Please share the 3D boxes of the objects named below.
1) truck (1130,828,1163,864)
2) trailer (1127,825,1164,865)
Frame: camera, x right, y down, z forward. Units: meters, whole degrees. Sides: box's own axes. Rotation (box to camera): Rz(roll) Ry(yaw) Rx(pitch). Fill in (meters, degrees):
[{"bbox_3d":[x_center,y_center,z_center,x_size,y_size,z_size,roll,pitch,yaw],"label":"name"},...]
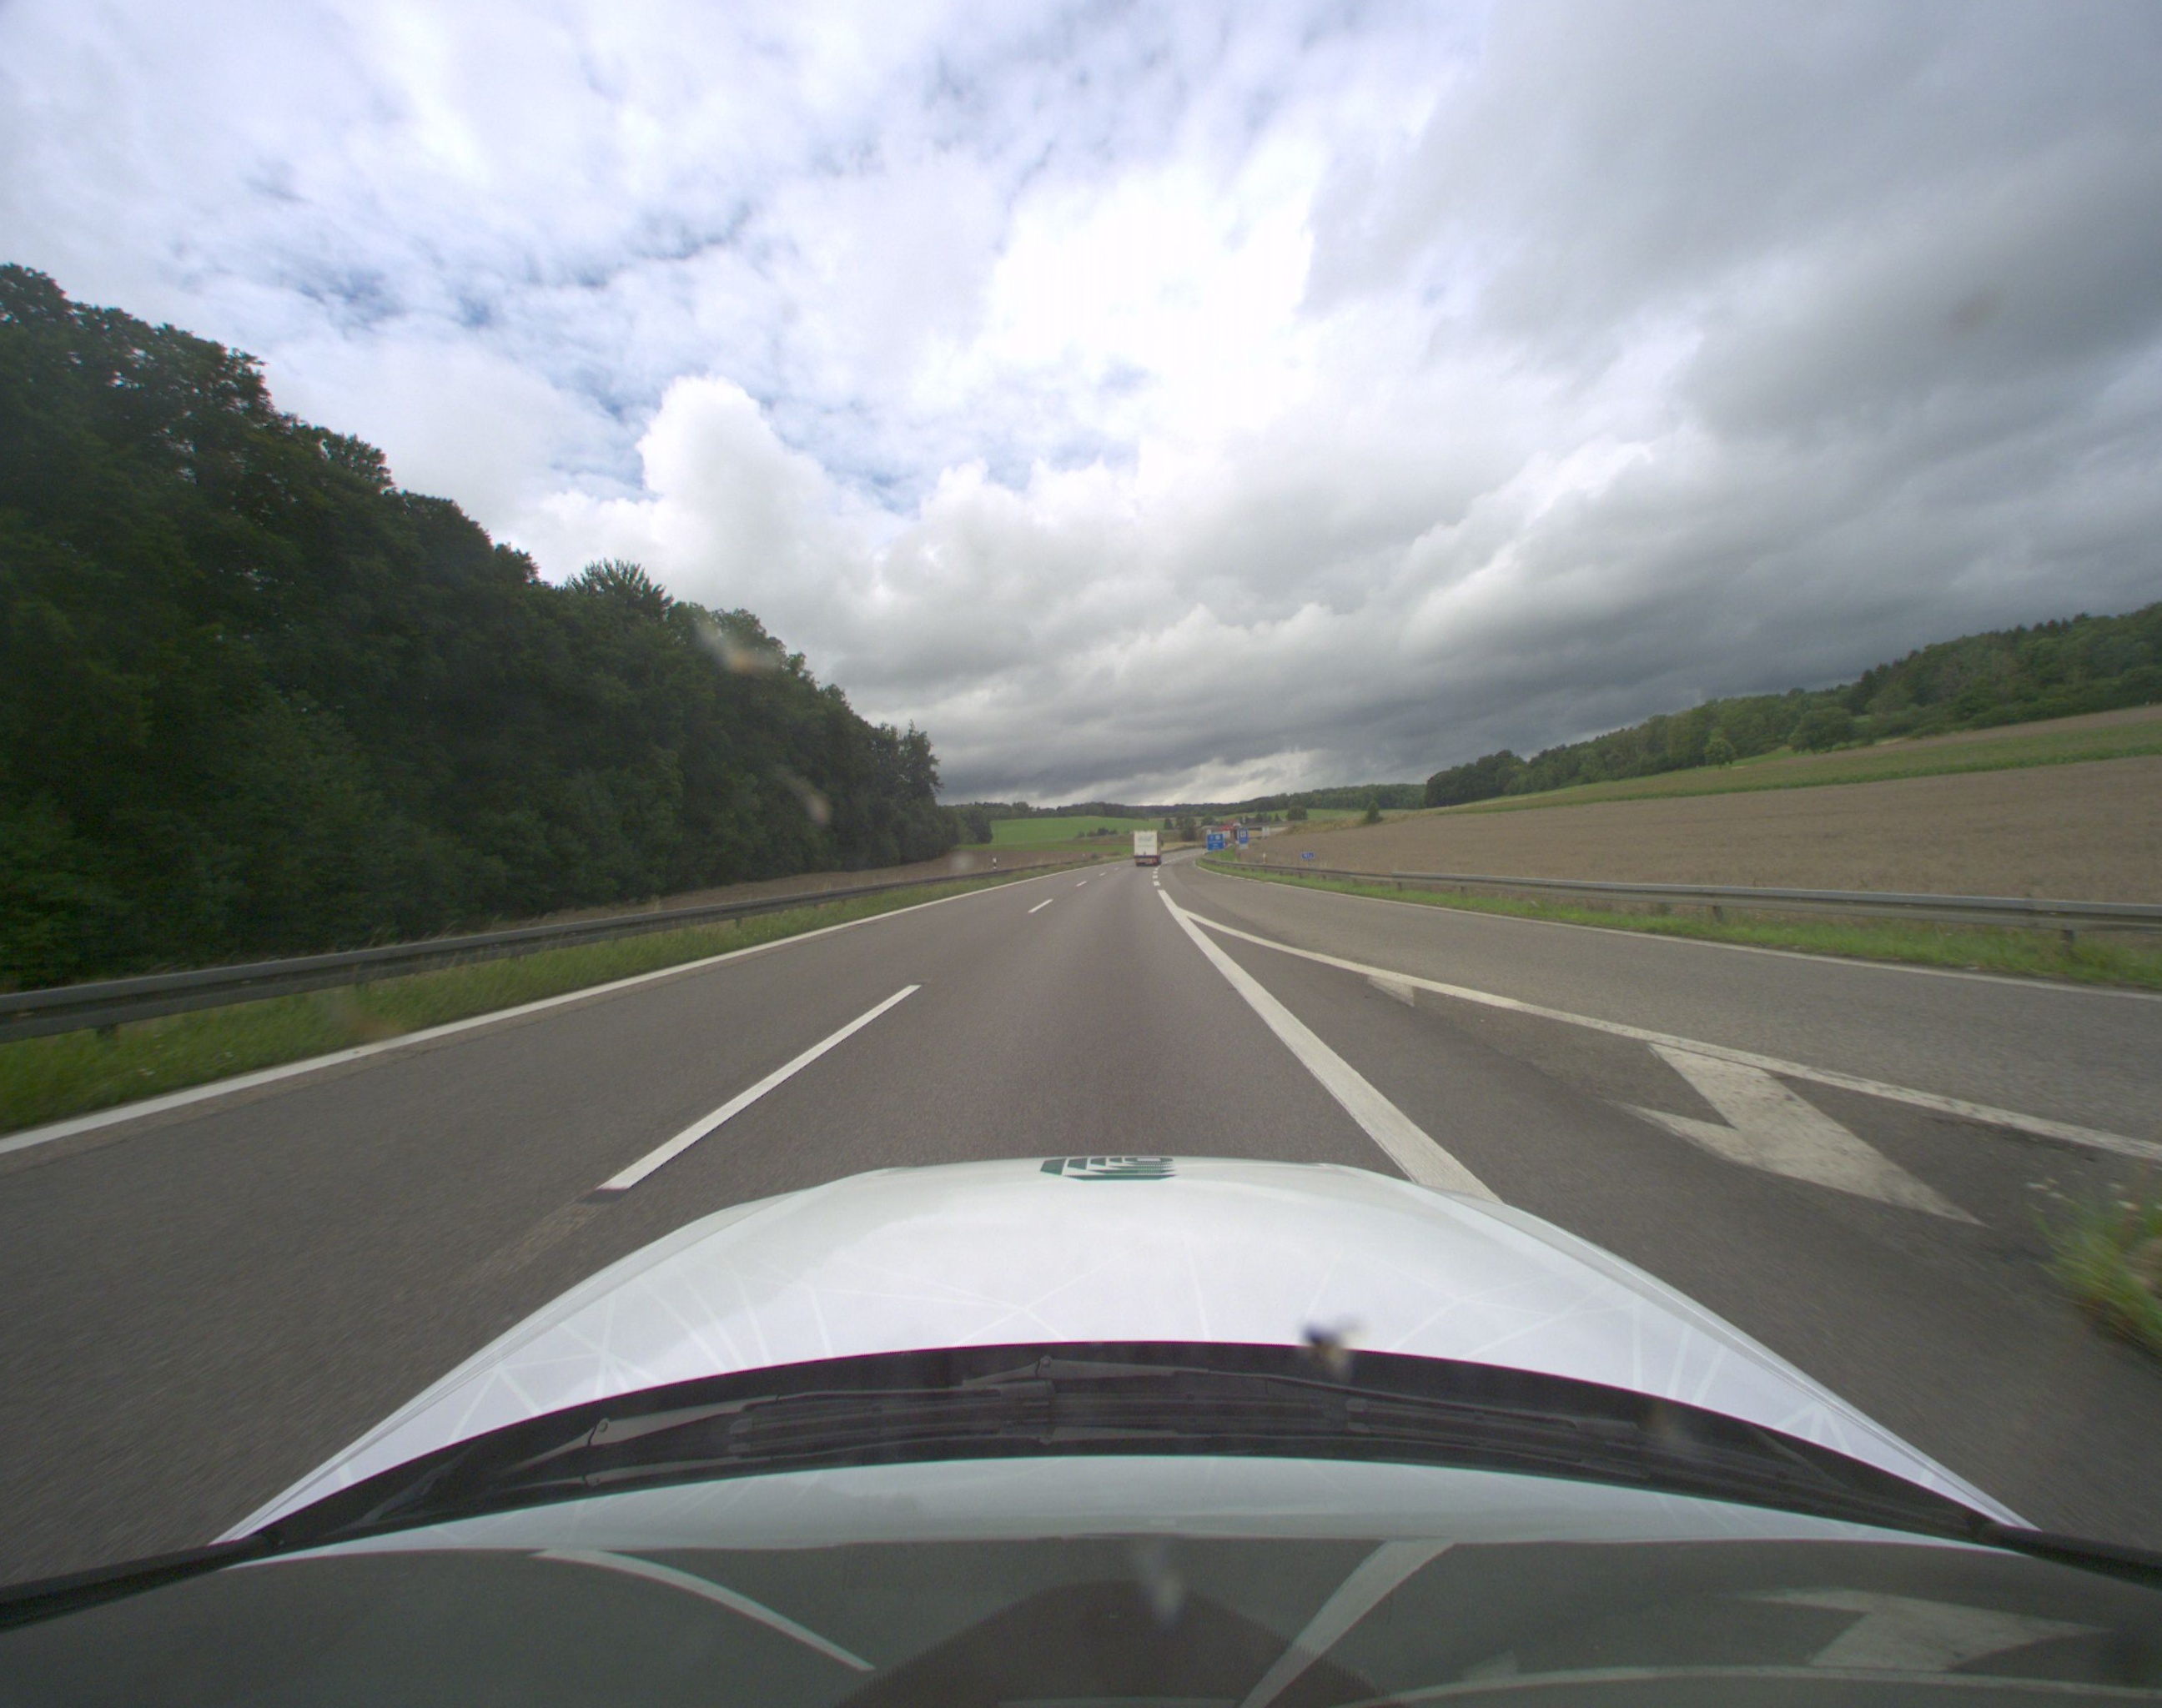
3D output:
[{"bbox_3d":[8.208,-0.993,101.283,3.769,4.132,8.276,-2,0,5],"label":"truck"},{"bbox_3d":[7.600,-0.967,94.629,3.787,4.174,14.830,-2,0,5],"label":"trailer"}]
